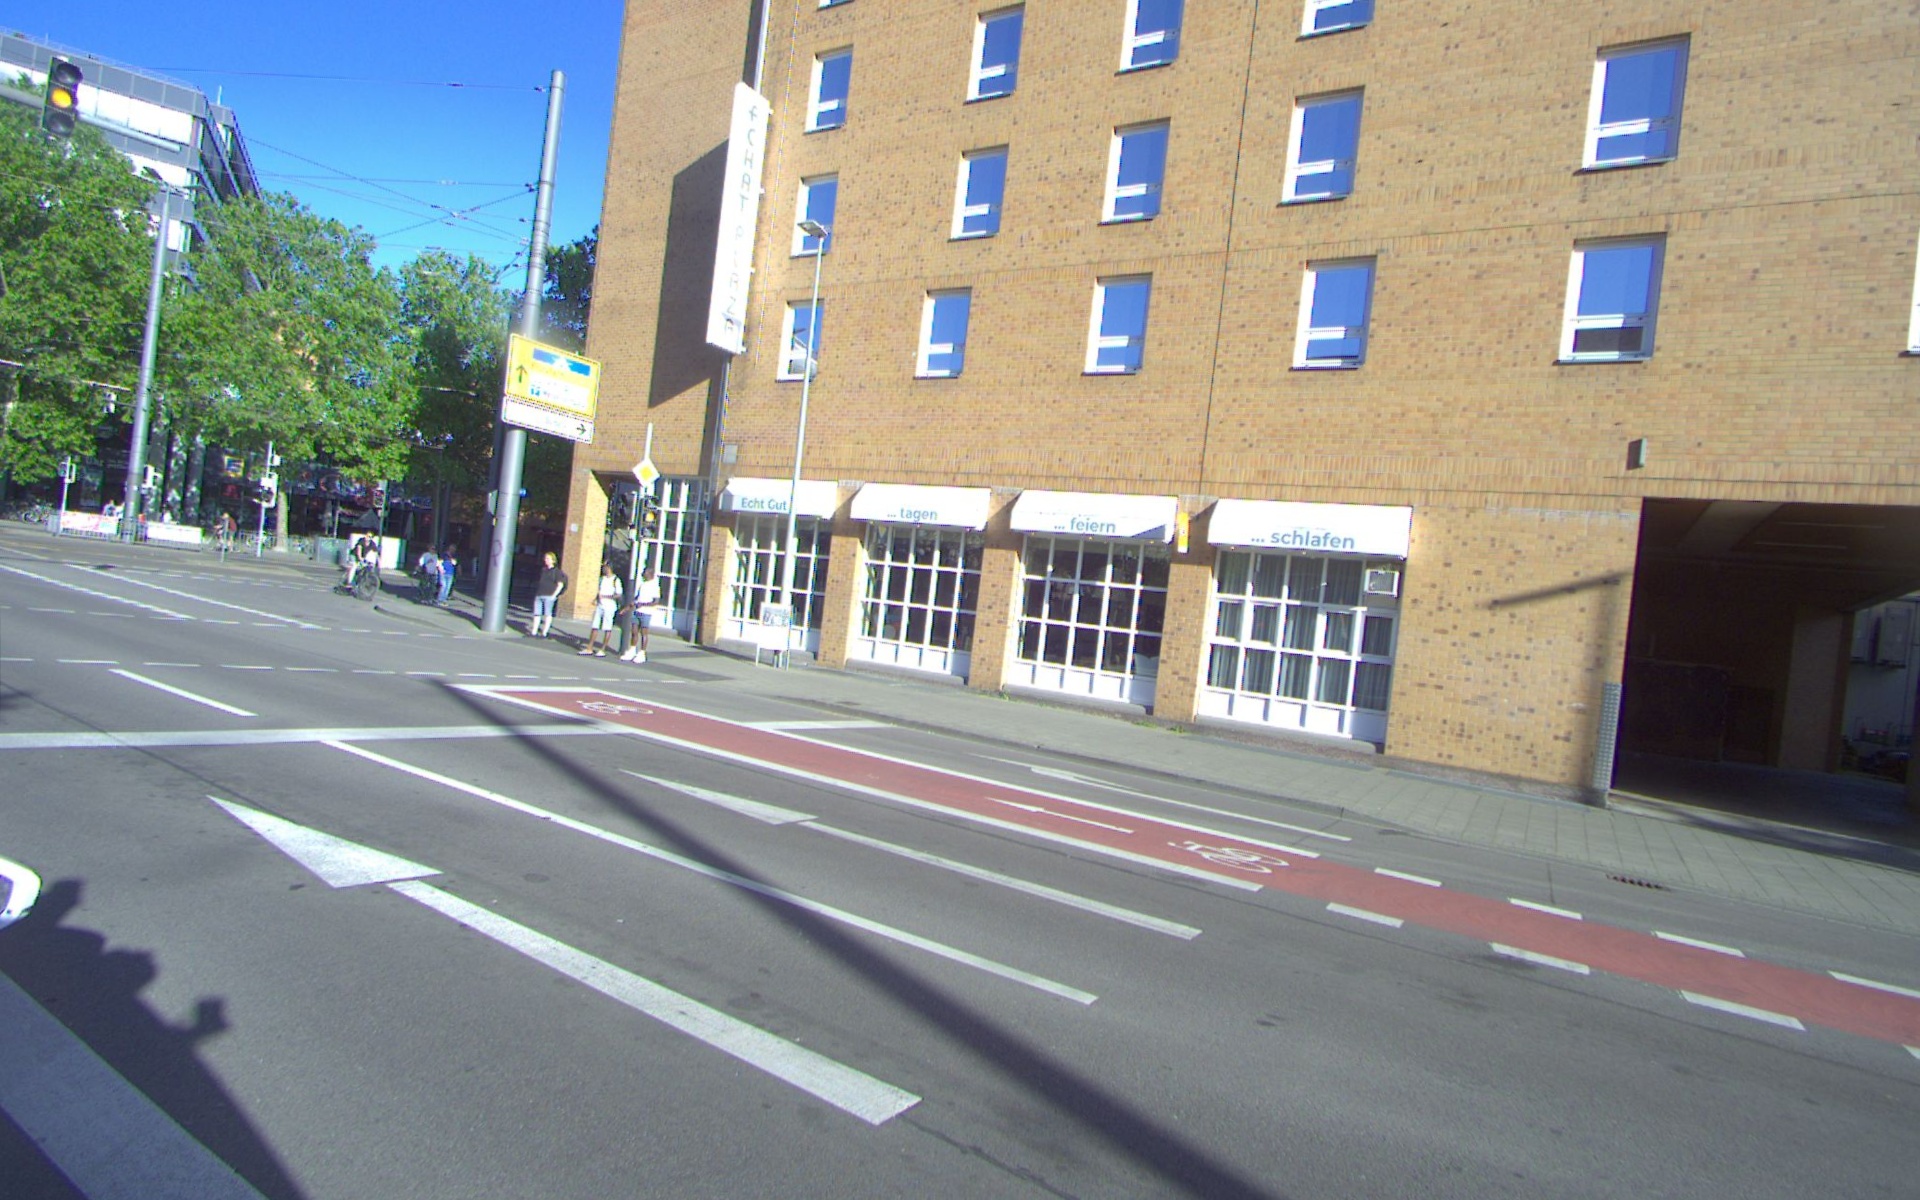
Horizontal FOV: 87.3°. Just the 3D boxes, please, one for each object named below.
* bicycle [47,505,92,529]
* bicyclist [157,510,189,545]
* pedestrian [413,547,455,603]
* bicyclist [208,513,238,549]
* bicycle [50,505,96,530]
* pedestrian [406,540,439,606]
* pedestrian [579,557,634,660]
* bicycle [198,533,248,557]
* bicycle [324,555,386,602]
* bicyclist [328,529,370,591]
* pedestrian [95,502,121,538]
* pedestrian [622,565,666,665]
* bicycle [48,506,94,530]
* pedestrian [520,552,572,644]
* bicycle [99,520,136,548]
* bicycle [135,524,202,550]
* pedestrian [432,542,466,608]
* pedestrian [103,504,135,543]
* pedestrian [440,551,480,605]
[{"bbox_3d":[-46.989,-4.387,53.109,1.700,0.998,0.386,7,0,-45],"label":"bicycle"},{"bbox_3d":[-47.750,-4.387,61.019,0.822,1.955,1.226,7,0,38],"label":"bicyclist"},{"bbox_3d":[-15.949,-0.758,30.503,0.729,1.557,0.677,7,-1,24],"label":"pedestrian"},{"bbox_3d":[-36.319,-3.384,49.585,0.627,1.635,0.926,7,0,35],"label":"bicyclist"},{"bbox_3d":[-45.419,-4.220,51.514,1.700,0.998,0.386,7,0,-45],"label":"bicycle"},{"bbox_3d":[-14.749,-0.747,27.636,0.556,1.723,0.655,7,-1,-24],"label":"pedestrian"},{"bbox_3d":[-6.666,0.156,18.998,0.719,1.857,0.497,5,2,-3],"label":"pedestrian"},{"bbox_3d":[-36.351,-2.720,49.632,0.642,0.921,1.854,7,-1,36],"label":"bicycle"},{"bbox_3d":[-15.988,-0.570,26.569,1.850,1.065,0.600,7,5,32],"label":"bicycle"},{"bbox_3d":[-16.216,-1.064,26.706,0.836,1.536,0.578,8,5,33],"label":"bicyclist"},{"bbox_3d":[-47.819,-4.491,56.467,0.845,1.873,0.799,10,-2,-44],"label":"pedestrian"},{"bbox_3d":[-5.885,0.283,18.712,0.571,1.797,0.403,7,2,42],"label":"pedestrian"},{"bbox_3d":[-46.038,-4.248,52.096,1.700,0.998,0.386,7,0,-45],"label":"bicycle"},{"bbox_3d":[-8.565,-0.039,20.837,0.683,1.789,0.573,8,0,-9],"label":"pedestrian"},{"bbox_3d":[-37.971,-2.980,45.318,1.894,1.064,0.790,6,-2,37],"label":"bicycle"},{"bbox_3d":[-47.885,-3.811,60.910,0.822,1.126,3.041,7,-1,38],"label":"bicycle"},{"bbox_3d":[-14.300,-0.690,28.156,0.595,1.747,0.600,7,-1,-21],"label":"pedestrian"},{"bbox_3d":[-37.870,-3.433,45.294,0.825,1.612,0.771,6,-1,34],"label":"pedestrian"},{"bbox_3d":[-15.685,-0.682,31.554,0.729,1.557,0.652,7,-1,24],"label":"pedestrian"}]
